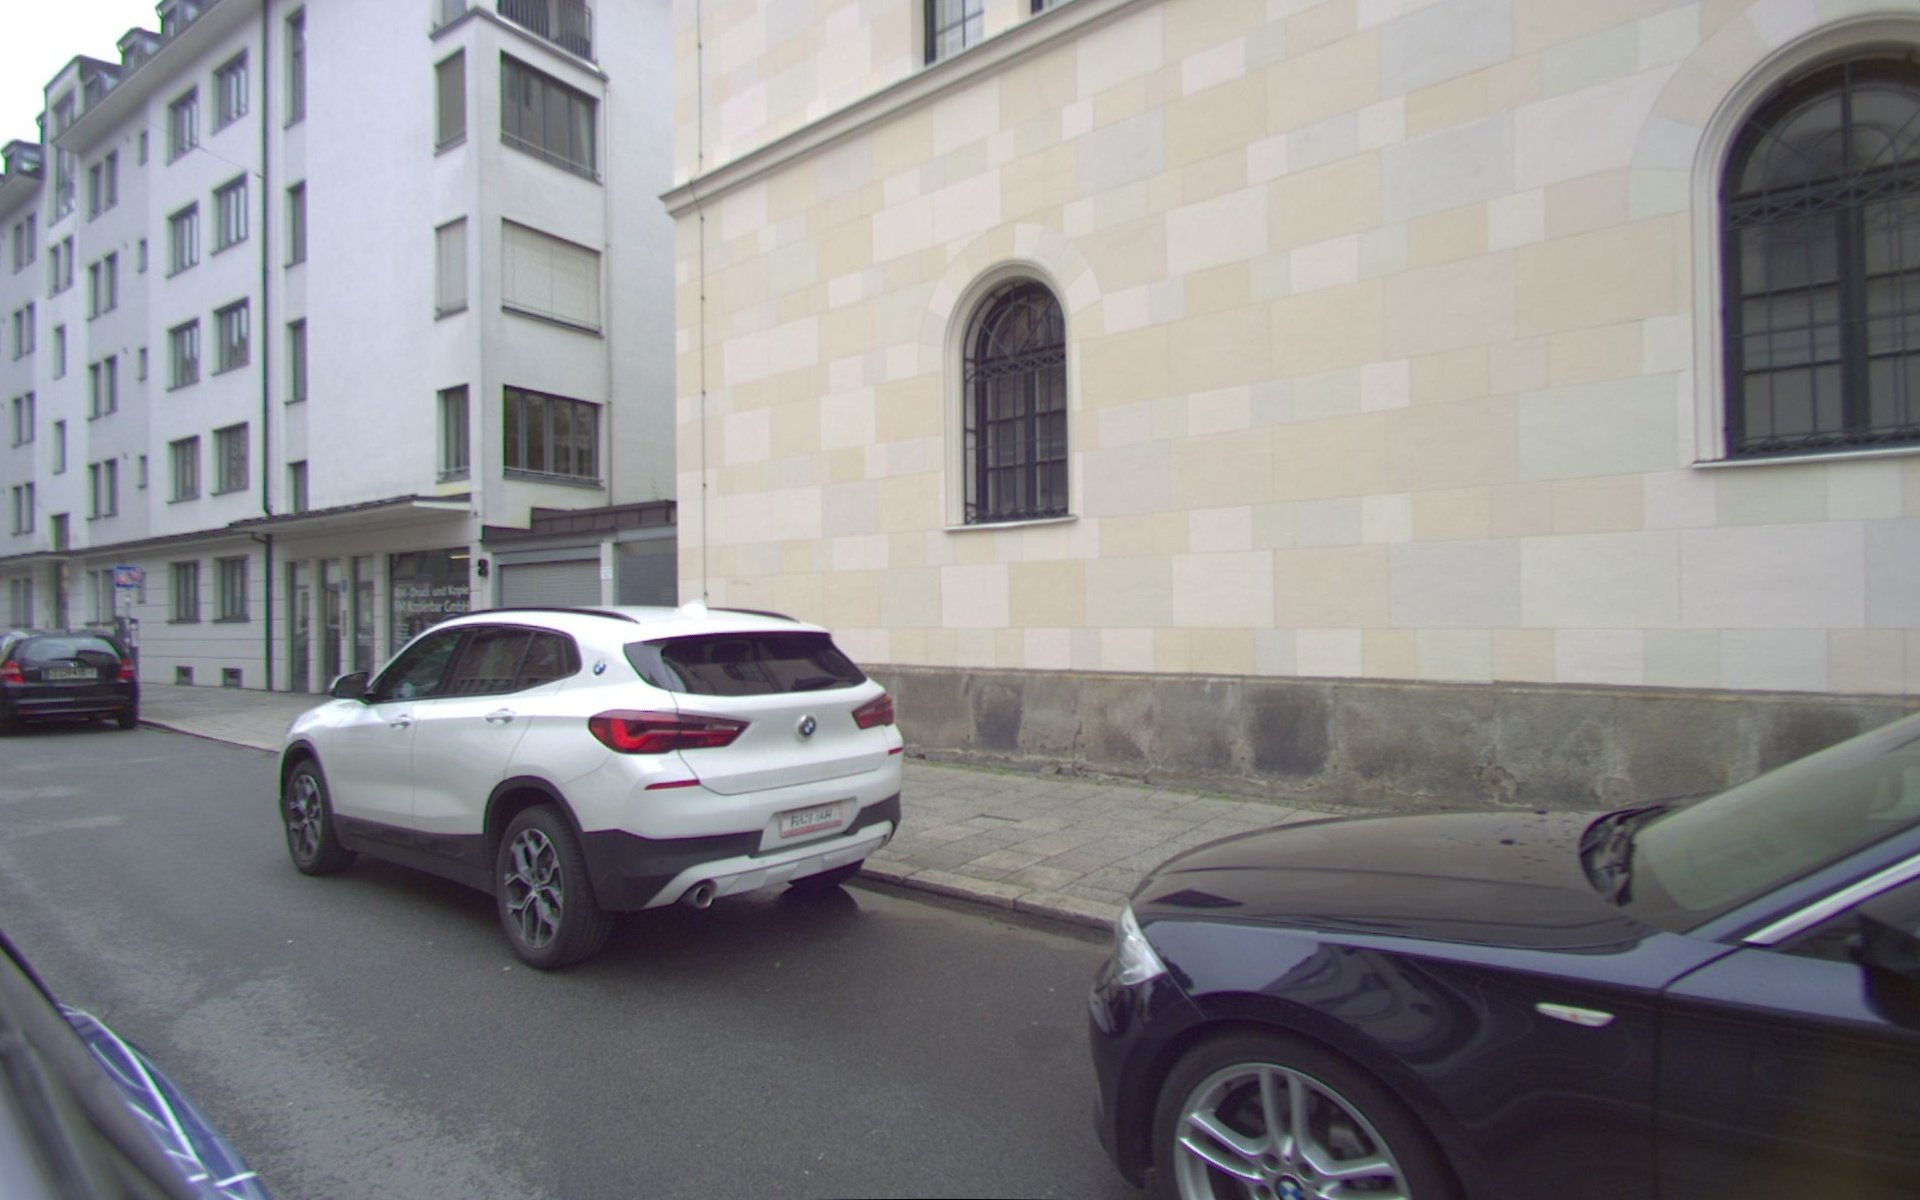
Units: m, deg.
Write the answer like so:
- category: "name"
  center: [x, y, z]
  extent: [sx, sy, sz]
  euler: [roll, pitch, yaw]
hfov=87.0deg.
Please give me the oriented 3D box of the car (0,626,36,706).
- category: "car"
  center: [-21.945, 1.457, 21.982]
  extent: [4.069, 1.671, 1.857]
  euler: [-3, -4, 34]

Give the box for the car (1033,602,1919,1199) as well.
- category: "car"
  center: [2.311, 0.718, 1.623]
  extent: [4.208, 1.403, 1.681]
  euler: [-1, -2, 40]

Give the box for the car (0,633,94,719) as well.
- category: "car"
  center: [-17.690, 1.393, 18.705]
  extent: [4.009, 1.464, 1.734]
  euler: [-3, -4, 37]

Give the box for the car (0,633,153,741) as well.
- category: "car"
  center: [-14.094, 1.288, 15.626]
  extent: [4.011, 1.464, 1.733]
  euler: [-3, -4, 39]

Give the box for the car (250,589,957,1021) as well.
- category: "car"
  center: [-2.200, 0.791, 5.654]
  extent: [4.206, 1.546, 1.761]
  euler: [-1, -2, 39]
